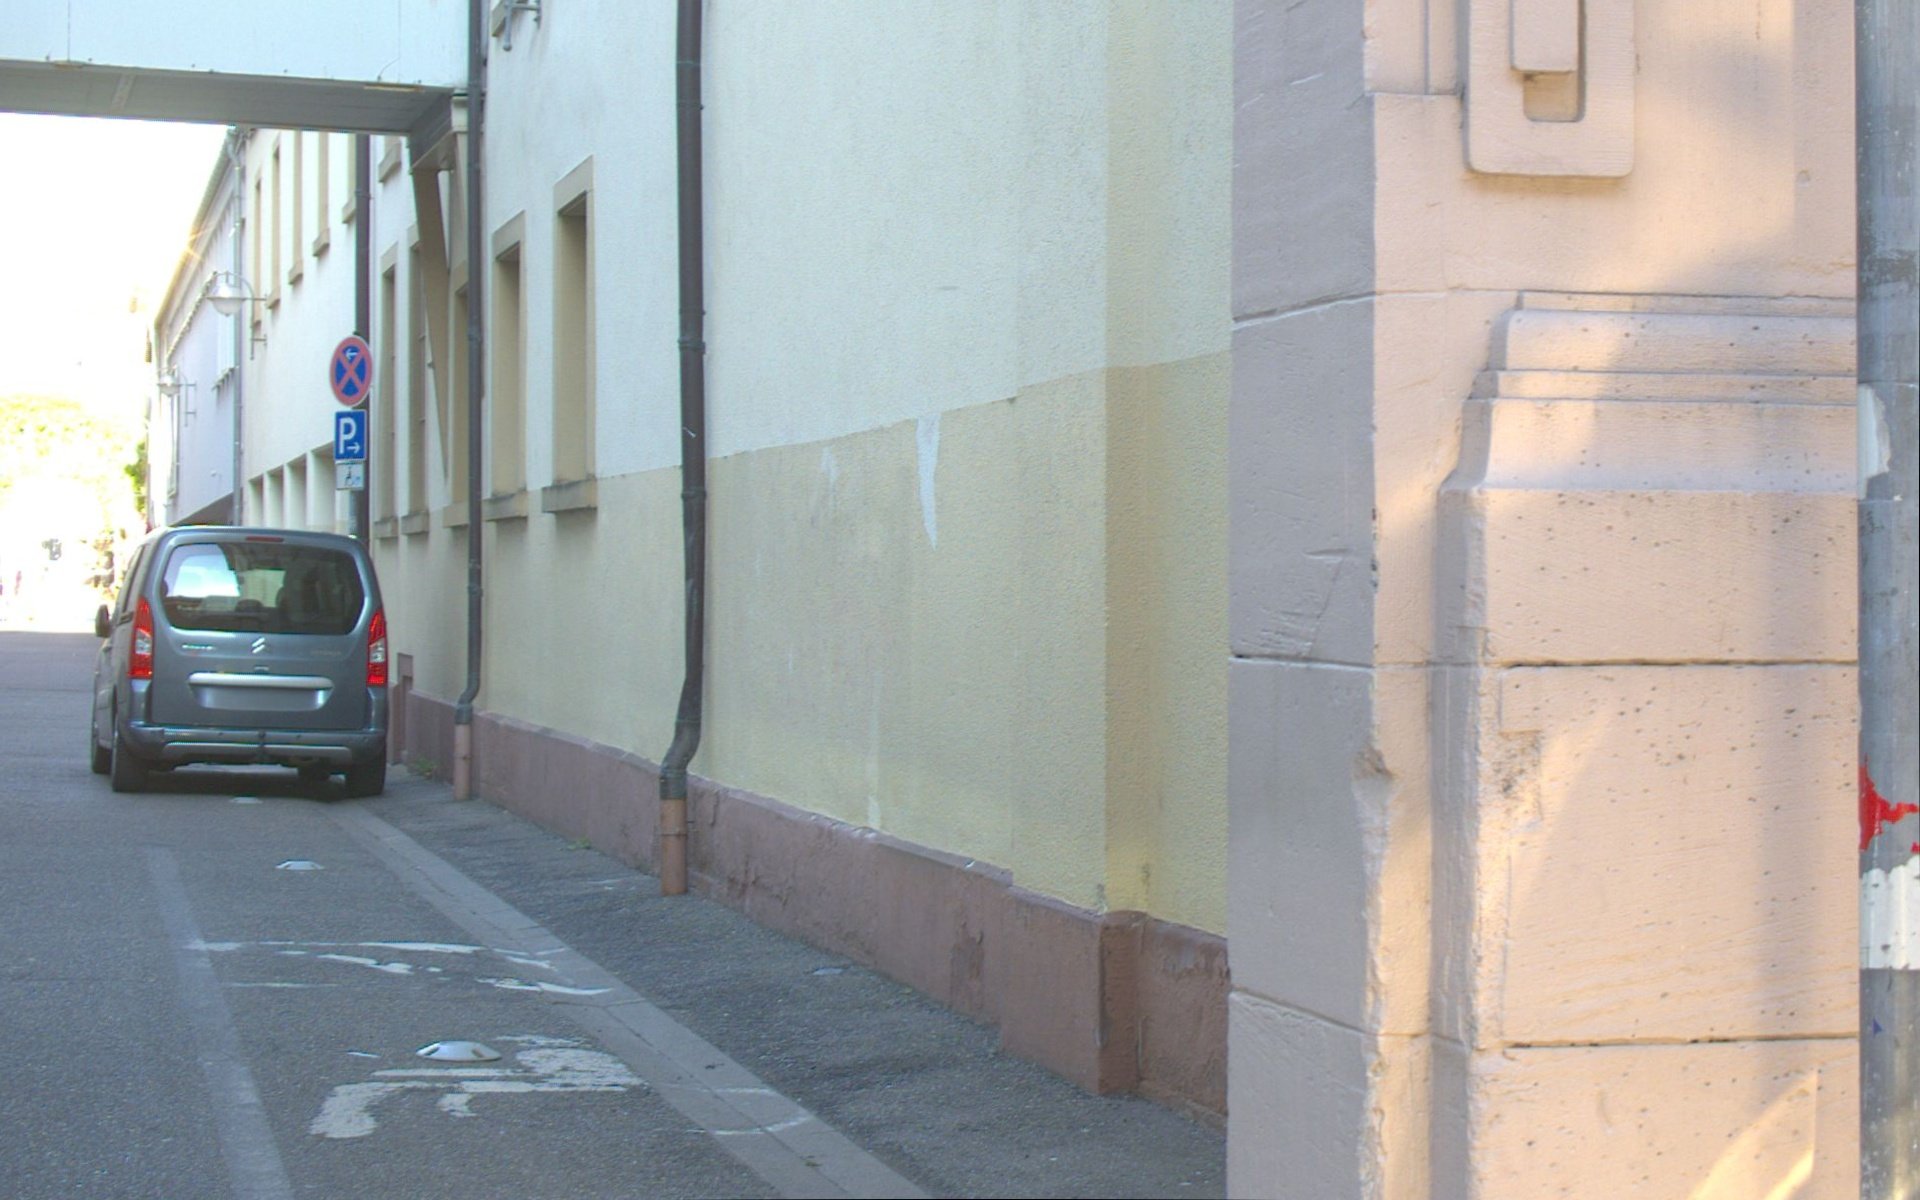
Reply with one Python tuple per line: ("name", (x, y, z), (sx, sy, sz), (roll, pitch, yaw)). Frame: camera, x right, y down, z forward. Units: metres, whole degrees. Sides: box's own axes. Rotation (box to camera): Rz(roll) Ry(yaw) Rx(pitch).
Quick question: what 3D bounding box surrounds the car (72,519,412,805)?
("car", (-5.140, 0.380, 24.202), (1.854, 1.750, 4.163), (4, 0, -17))
